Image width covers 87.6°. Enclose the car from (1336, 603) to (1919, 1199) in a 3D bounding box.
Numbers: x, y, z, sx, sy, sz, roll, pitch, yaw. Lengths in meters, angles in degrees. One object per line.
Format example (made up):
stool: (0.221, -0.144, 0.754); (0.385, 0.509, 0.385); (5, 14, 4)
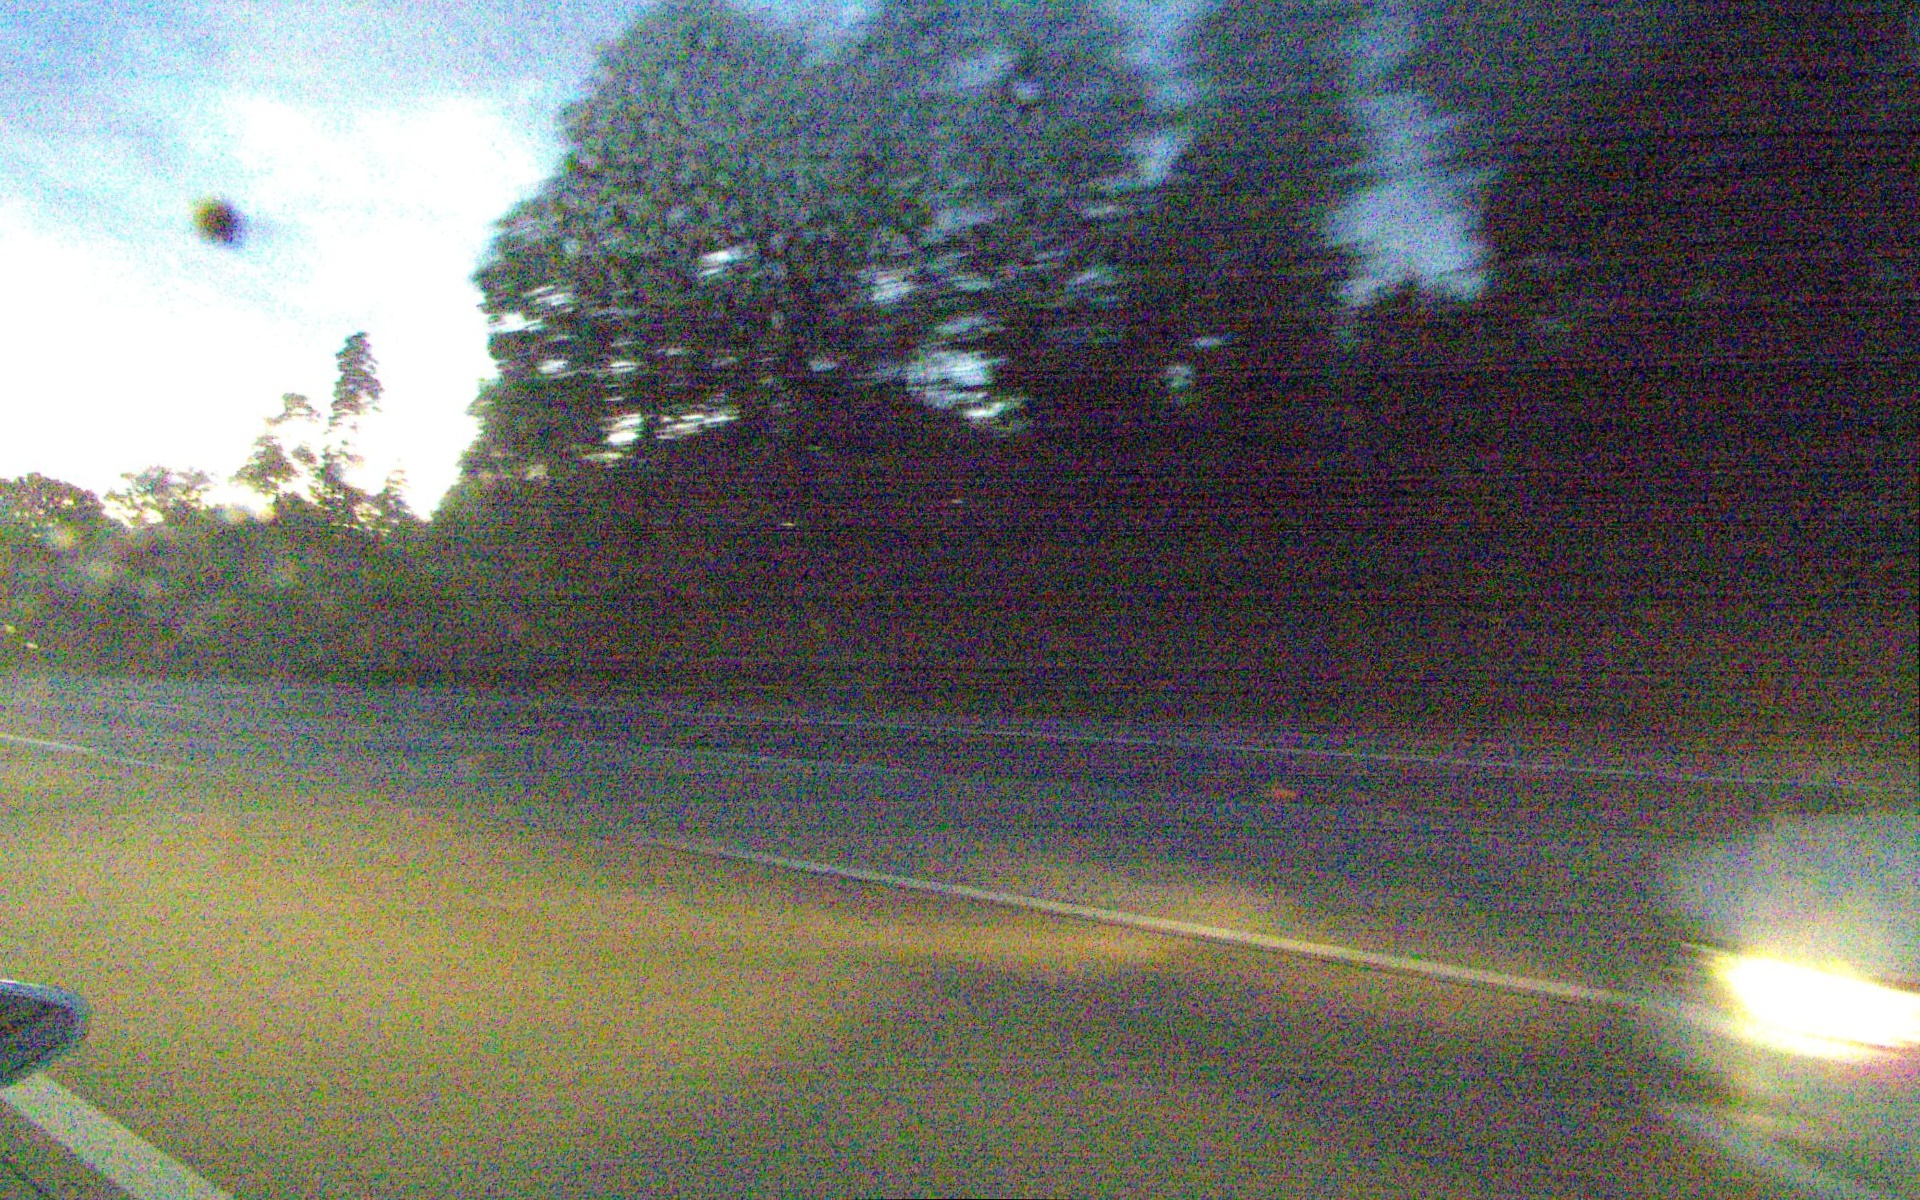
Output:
car: (3.604, 0.781, 2.042); (5.058, 1.485, 1.806); (0, 0, 32)
